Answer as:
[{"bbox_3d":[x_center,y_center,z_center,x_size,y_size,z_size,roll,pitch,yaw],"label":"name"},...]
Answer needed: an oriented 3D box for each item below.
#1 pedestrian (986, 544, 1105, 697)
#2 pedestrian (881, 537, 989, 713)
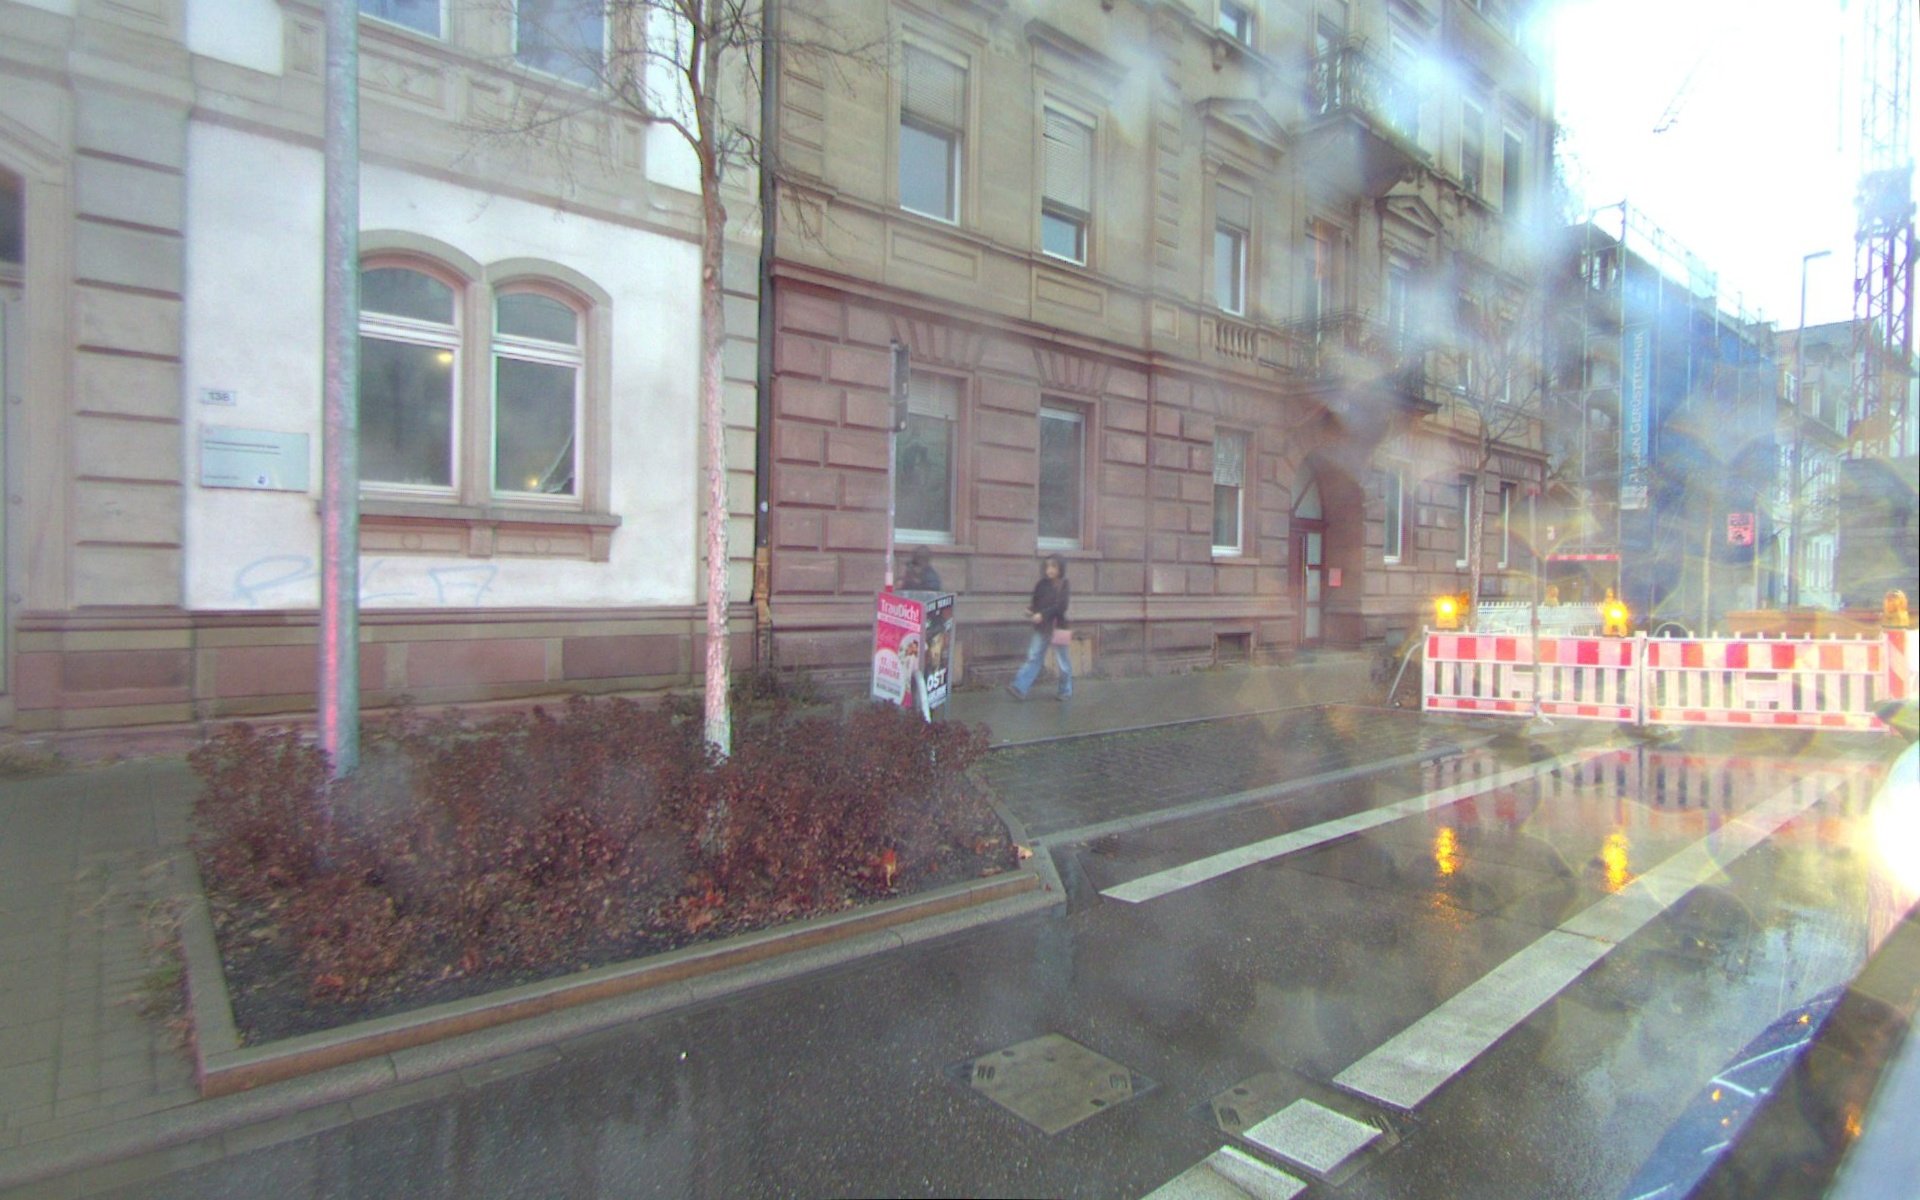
[{"bbox_3d":[0.921,0.193,10.924,0.913,1.564,0.870,0,2,-40],"label":"pedestrian"},{"bbox_3d":[-0.263,0.222,10.286,0.694,1.693,0.870,0,2,-38],"label":"pedestrian"}]
